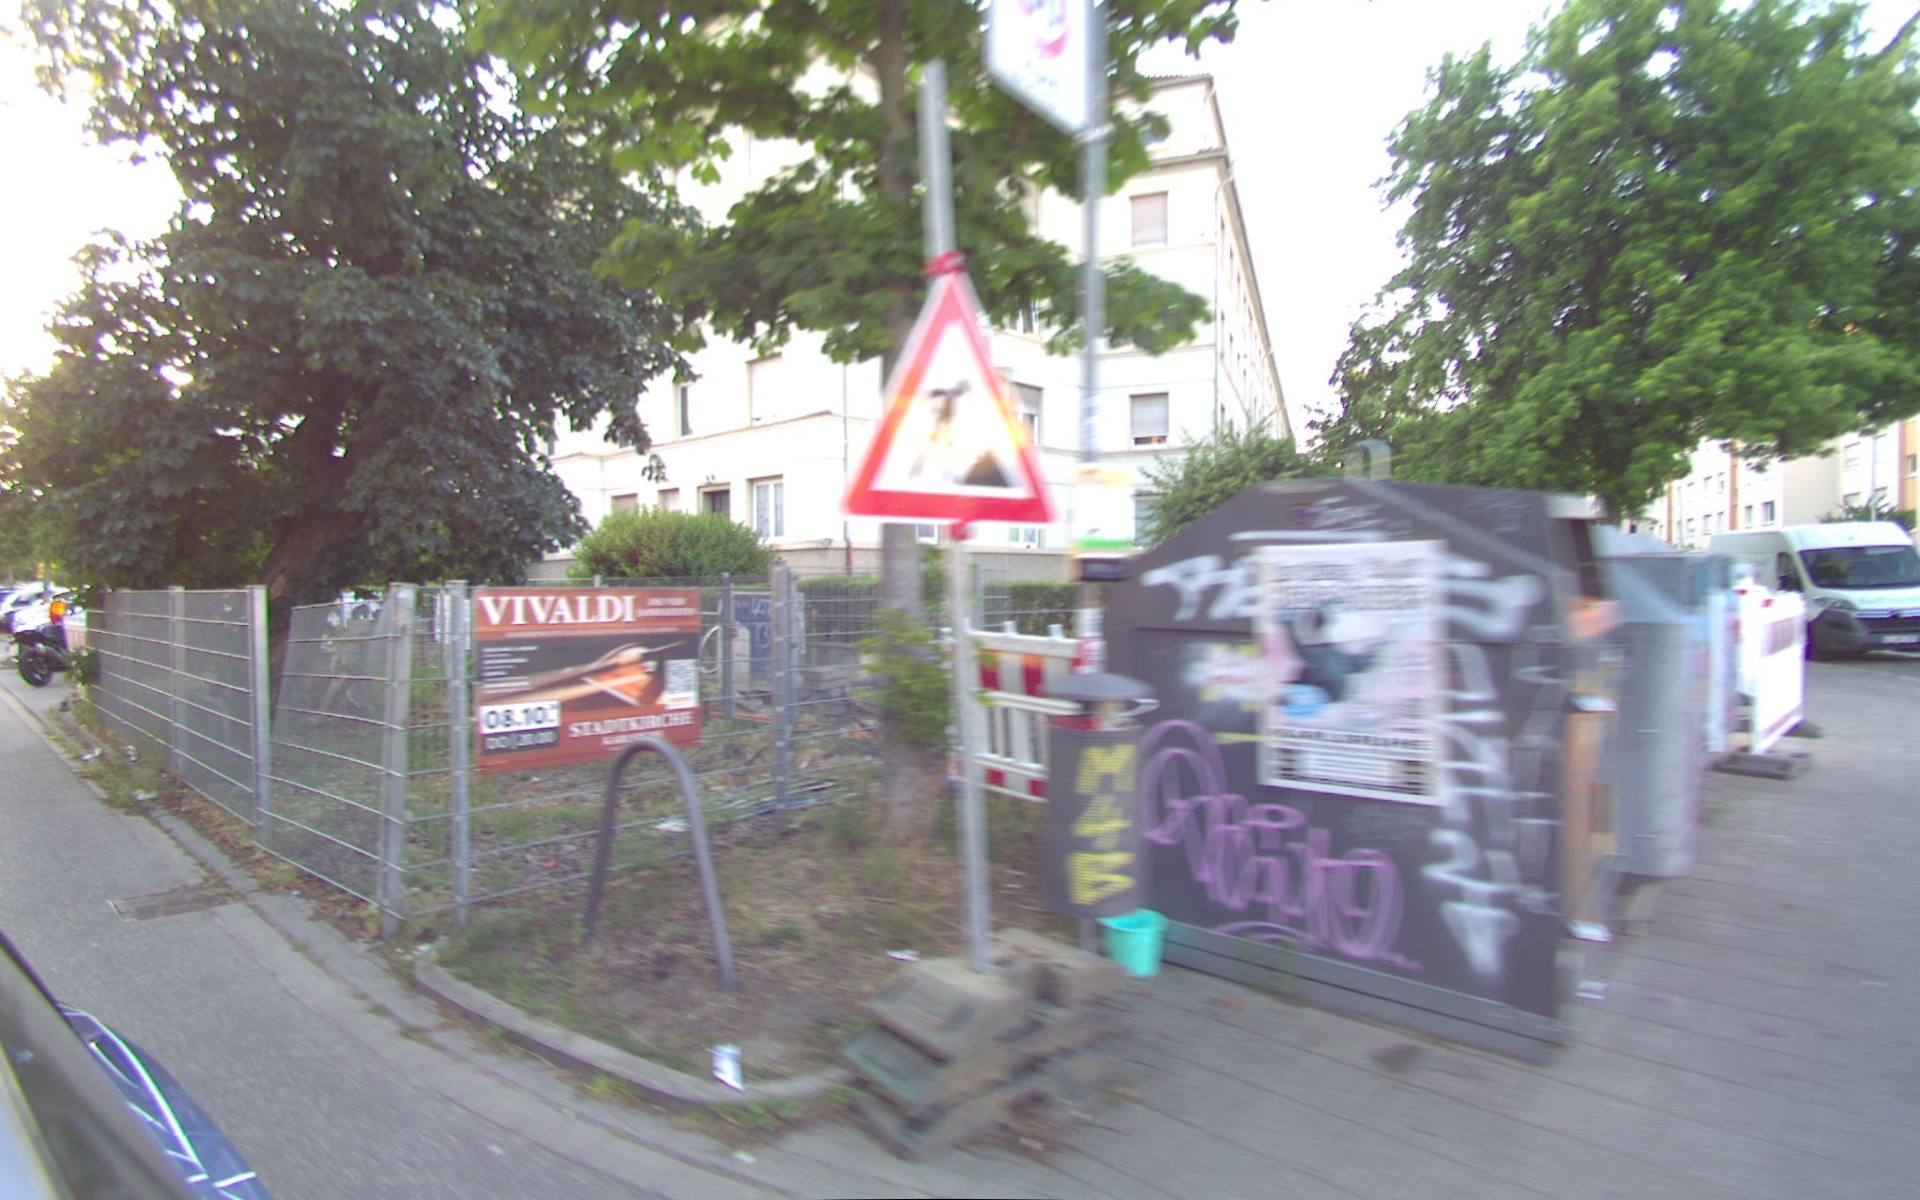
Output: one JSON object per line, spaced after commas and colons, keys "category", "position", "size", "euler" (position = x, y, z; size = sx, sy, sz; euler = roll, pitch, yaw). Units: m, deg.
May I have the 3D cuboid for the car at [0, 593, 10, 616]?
{"category": "car", "position": [-89.242, 0.422, 91.527], "size": [4.718, 2.085, 2.002], "euler": [-1, 1, -42]}

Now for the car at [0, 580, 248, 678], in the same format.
{"category": "car", "position": [-16.529, 0.494, 20.070], "size": [1.693, 1.568, 3.585], "euler": [0, 4, 43]}

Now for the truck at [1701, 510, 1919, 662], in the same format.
{"category": "truck", "position": [16.422, -0.263, 19.232], "size": [2.092, 2.441, 6.005], "euler": [-2, 0, 20]}

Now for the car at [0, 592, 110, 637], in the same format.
{"category": "car", "position": [-33.307, 0.494, 36.679], "size": [1.729, 1.456, 3.636], "euler": [1, 3, 45]}

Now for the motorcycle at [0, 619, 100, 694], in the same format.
{"category": "motorcycle", "position": [-15.015, 0.889, 16.592], "size": [0.530, 1.028, 2.218], "euler": [-3, 3, -18]}

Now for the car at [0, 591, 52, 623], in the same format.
{"category": "car", "position": [-47.299, 0.376, 49.798], "size": [1.727, 1.495, 3.662], "euler": [-1, 2, 41]}

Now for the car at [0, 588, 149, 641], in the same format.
{"category": "car", "position": [-29.031, 0.425, 32.921], "size": [1.729, 1.500, 3.932], "euler": [1, 3, 45]}

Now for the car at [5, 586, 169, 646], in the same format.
{"category": "car", "position": [-26.041, 0.423, 30.268], "size": [1.726, 1.577, 3.442], "euler": [1, 3, 38]}

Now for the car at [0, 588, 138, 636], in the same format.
{"category": "car", "position": [-31.078, 0.378, 35.225], "size": [3.635, 1.495, 1.729], "euler": [-3, 3, -45]}
